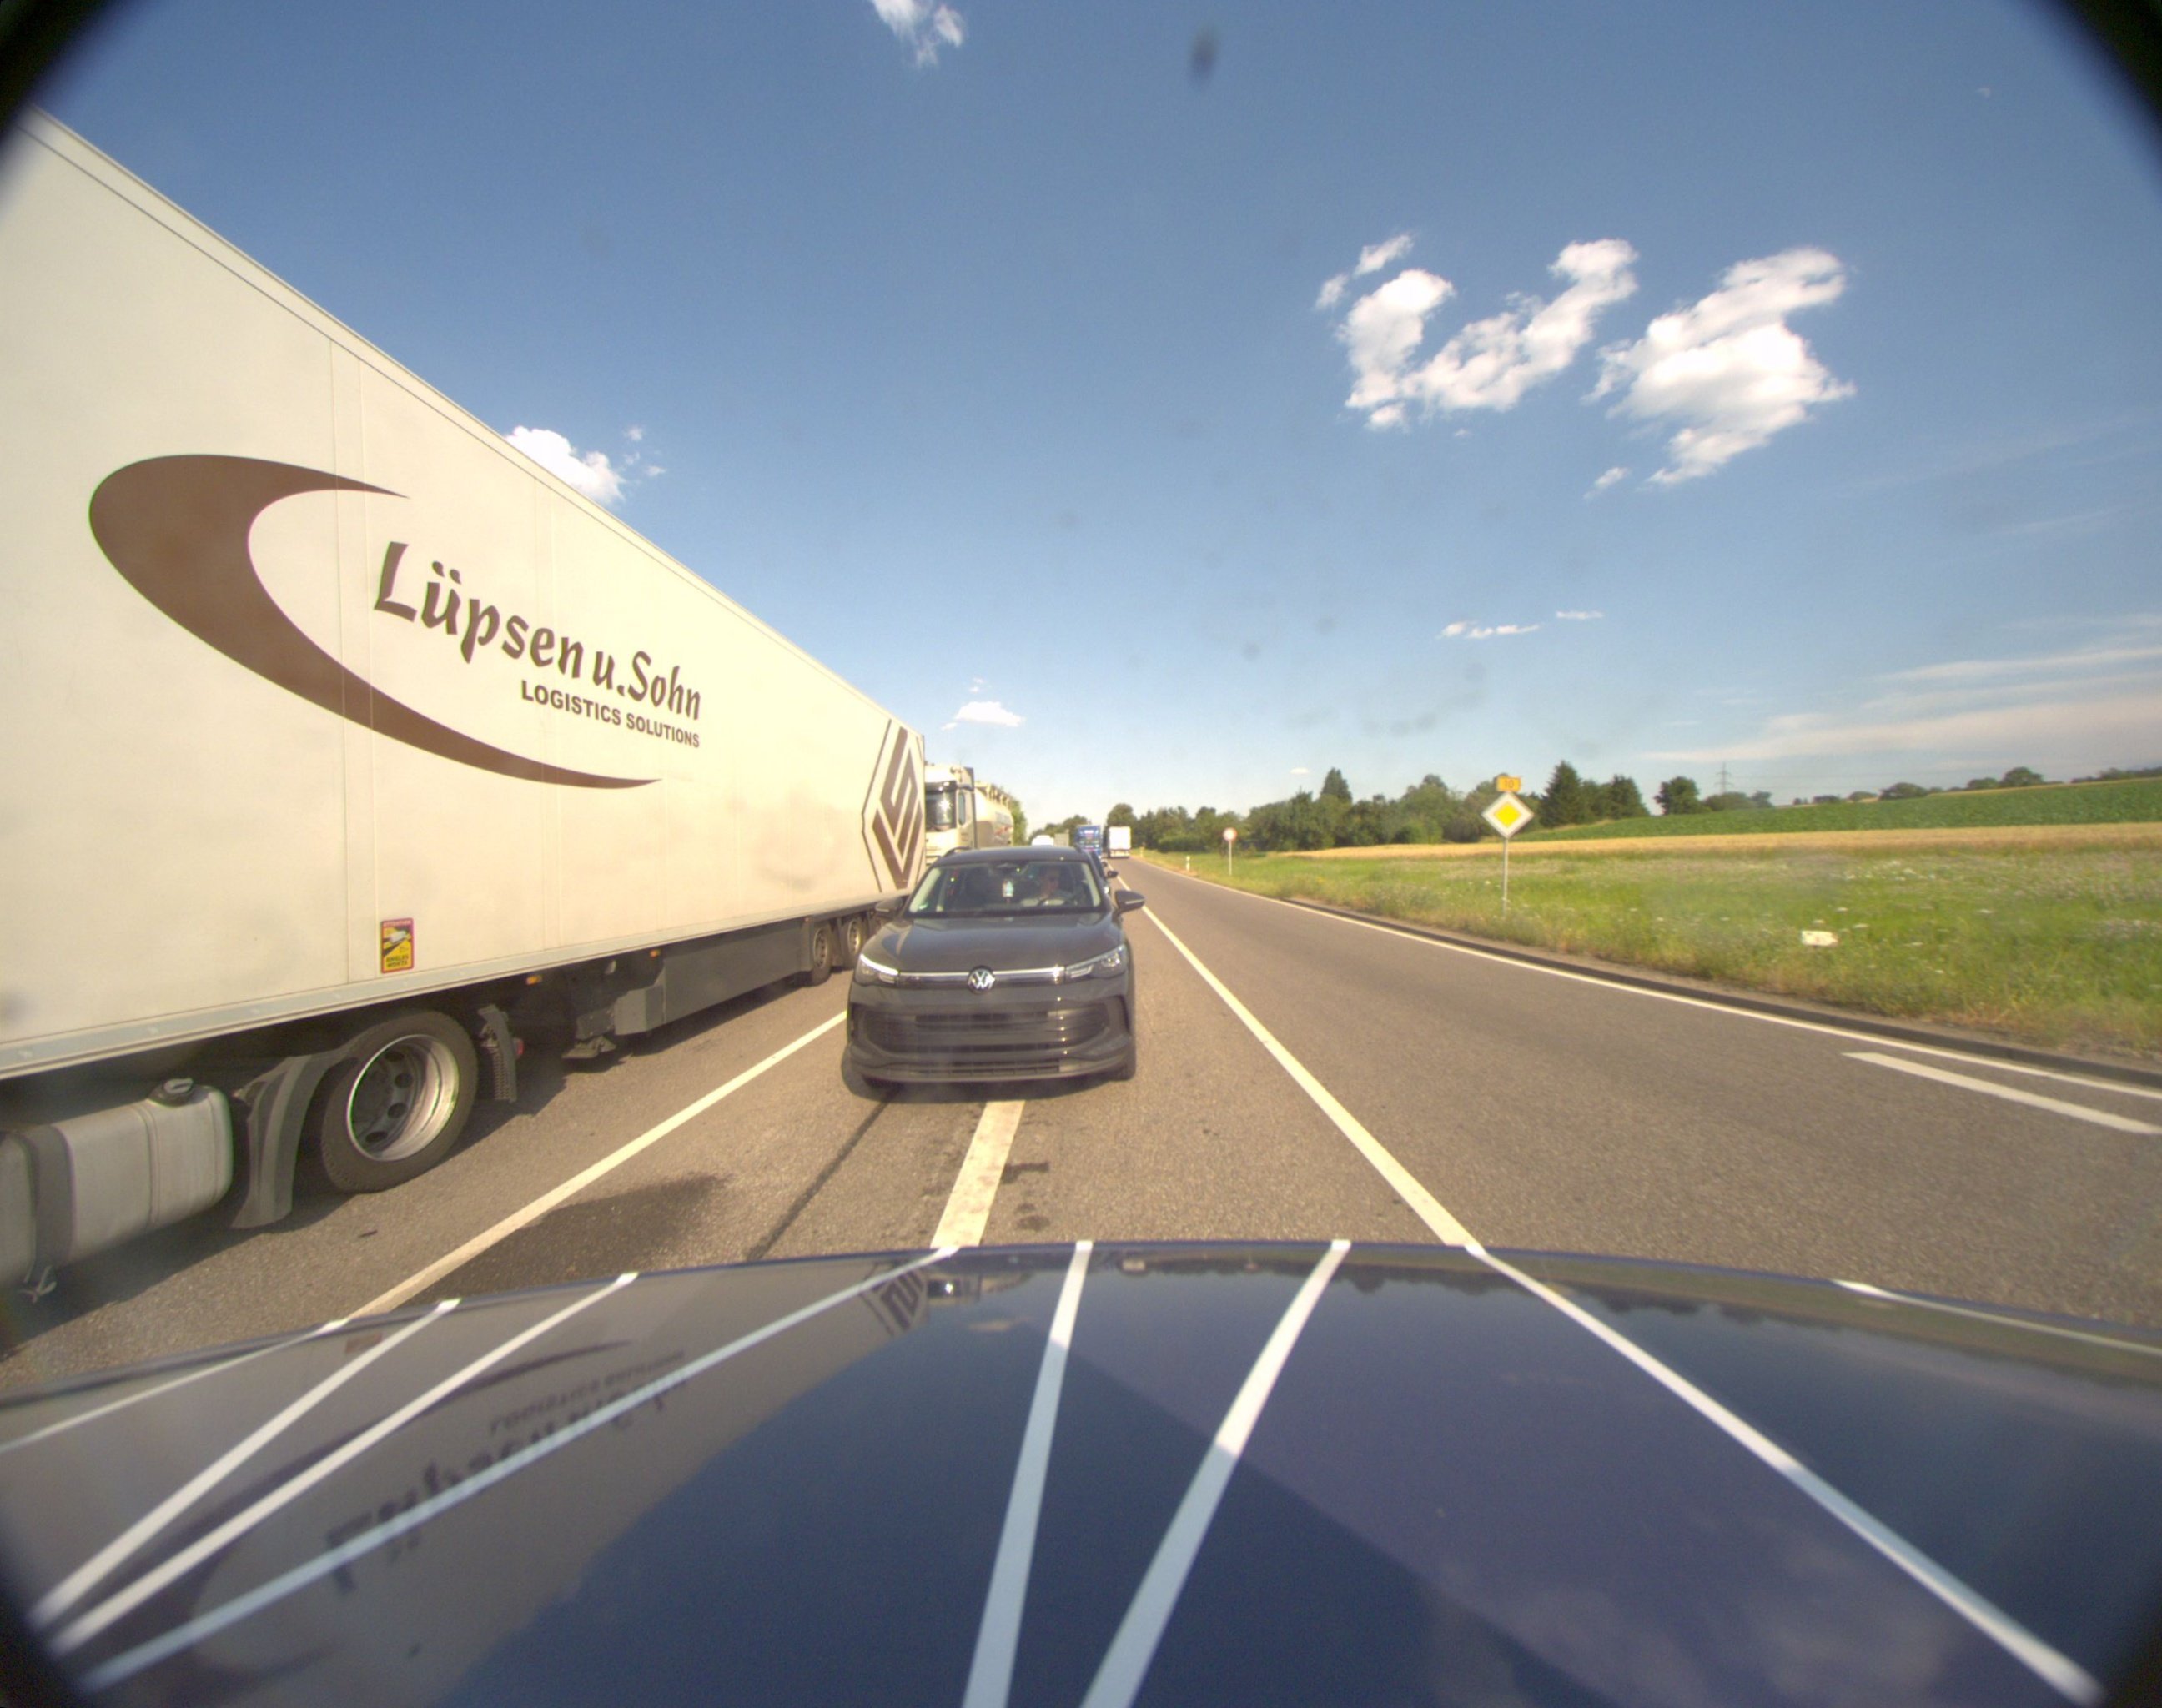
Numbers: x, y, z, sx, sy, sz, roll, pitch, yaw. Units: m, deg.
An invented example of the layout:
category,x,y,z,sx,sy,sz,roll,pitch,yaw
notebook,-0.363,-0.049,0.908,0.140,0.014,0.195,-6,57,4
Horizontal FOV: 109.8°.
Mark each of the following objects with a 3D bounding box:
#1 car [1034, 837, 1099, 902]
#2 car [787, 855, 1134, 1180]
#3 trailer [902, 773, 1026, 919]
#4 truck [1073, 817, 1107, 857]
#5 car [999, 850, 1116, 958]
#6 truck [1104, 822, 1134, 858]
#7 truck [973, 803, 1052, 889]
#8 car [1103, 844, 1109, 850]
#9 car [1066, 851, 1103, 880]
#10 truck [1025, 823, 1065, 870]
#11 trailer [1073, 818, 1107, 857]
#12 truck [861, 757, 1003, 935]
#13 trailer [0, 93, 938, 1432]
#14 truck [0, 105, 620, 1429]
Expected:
category,x,y,z,sx,sy,sz,roll,pitch,yaw
car,-0.397,0.460,25.714,1.907,1.936,4.372,-3,1,2
car,-0.554,0.882,6.269,1.787,1.620,4.469,-2,1,2
trailer,-3.454,-0.258,24.909,2.264,3.755,9.524,-3,1,1
truck,0.952,-1.778,81.471,3.373,3.982,5.601,-2,1,1
car,-0.290,0.786,14.264,1.775,1.604,4.547,-2,1,2
truck,4.912,-1.803,99.494,3.449,4.471,9.486,-2,1,1
truck,-3.316,-0.416,40.403,2.528,3.752,12.898,-2,1,1
car,5.983,-1.674,181.914,1.427,1.563,3.504,-2,1,1
car,0.222,0.635,44.114,1.998,1.477,3.999,-2,1,1
truck,-3.066,-0.708,68.422,2.528,3.752,12.898,-2,1,1
trailer,1.066,-1.862,88.565,3.416,3.982,13.748,-2,1,1
truck,-3.535,-0.209,19.352,2.261,3.783,5.685,-2,1,1
trailer,-4.397,-0.294,8.298,2.538,4.043,14.336,-2,0,1
truck,-4.554,-0.255,1.788,2.538,4.020,6.662,-2,1,2
